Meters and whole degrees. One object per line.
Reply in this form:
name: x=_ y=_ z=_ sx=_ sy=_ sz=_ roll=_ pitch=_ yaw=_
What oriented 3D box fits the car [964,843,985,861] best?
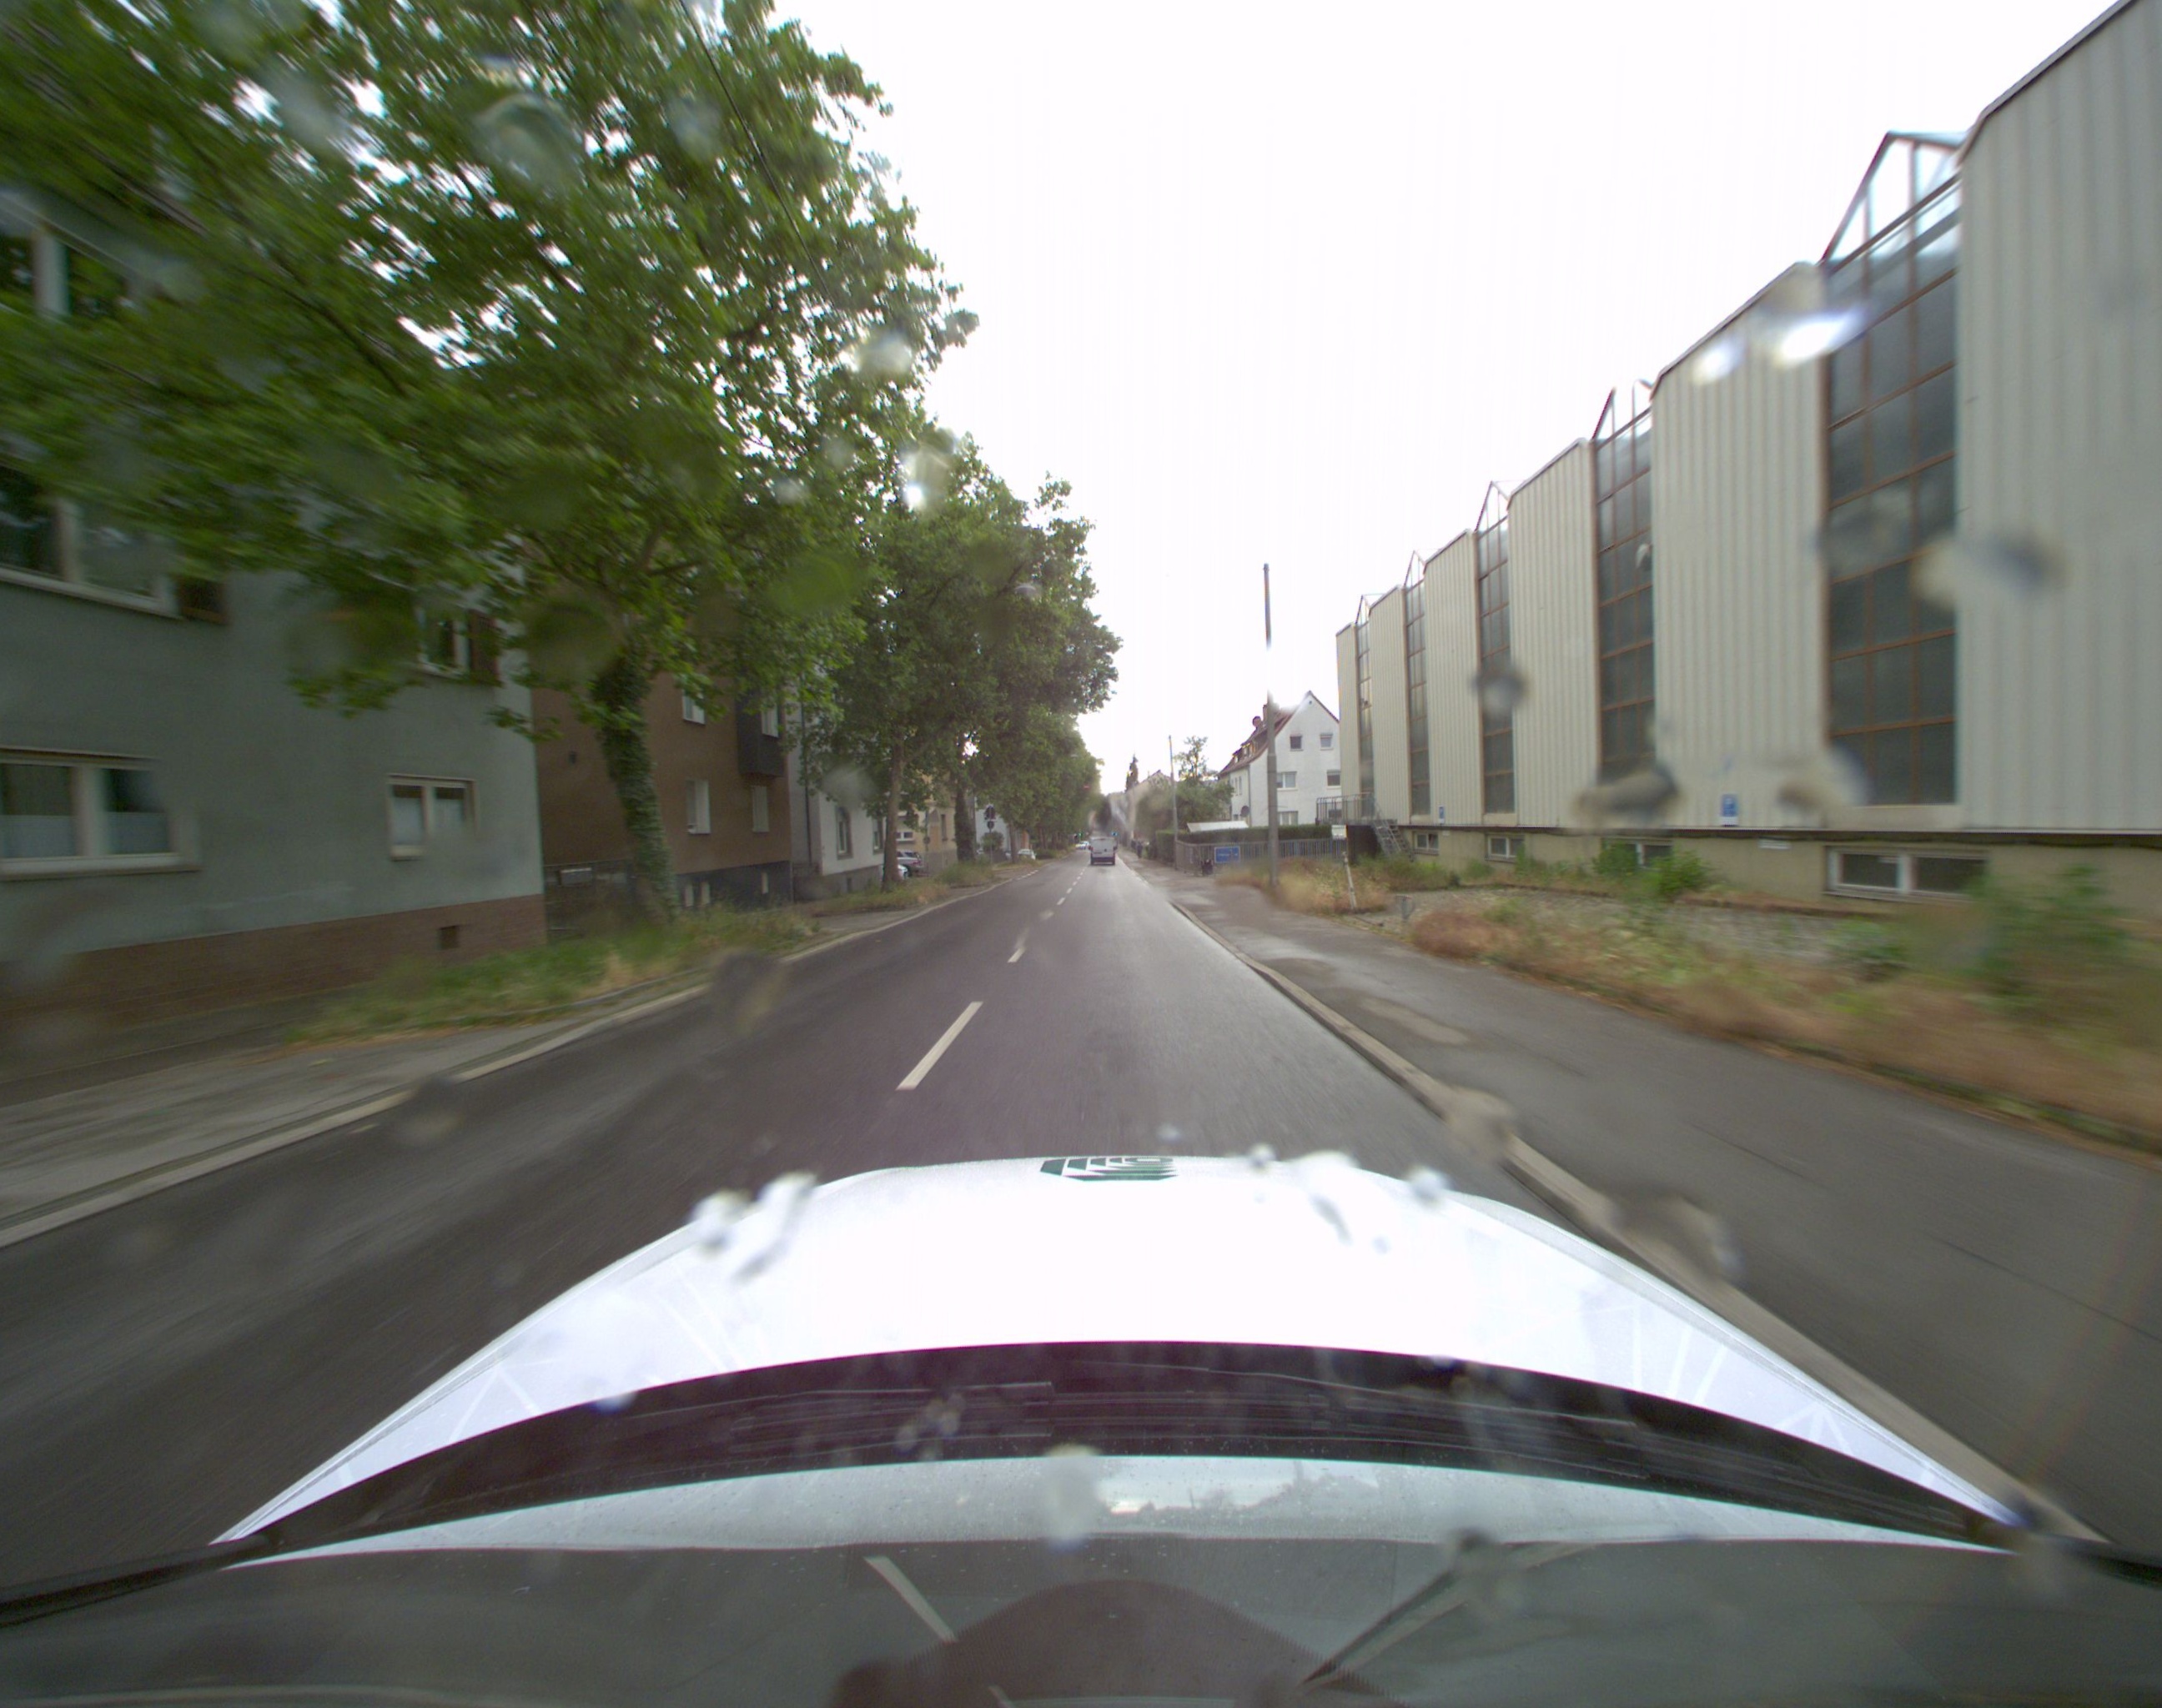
car: x=-12.764 y=-0.268 z=97.859 sx=1.868 sy=1.894 sz=4.002 roll=-2 pitch=2 yaw=1

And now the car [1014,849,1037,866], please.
car: x=-5.209 y=0.333 z=76.771 sx=1.989 sy=1.452 sz=4.206 roll=-2 pitch=0 yaw=-3

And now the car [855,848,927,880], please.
car: x=-12.518 y=0.643 z=53.802 sx=4.182 sy=1.891 sz=2.000 roll=-2 pitch=0 yaw=0

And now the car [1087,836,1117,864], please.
car: x=1.713 y=-0.372 z=68.368 sx=2.339 sy=2.160 sz=4.777 roll=-3 pitch=2 yaw=0

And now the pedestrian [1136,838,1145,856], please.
pedestrian: x=5.757 y=-0.673 z=79.279 sx=0.812 sy=1.698 sz=0.730 roll=-2 pitch=0 yaw=3

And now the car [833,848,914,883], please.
car: x=-12.259 y=0.667 z=48.362 sx=4.182 sy=1.891 sz=2.000 roll=-2 pitch=0 yaw=0

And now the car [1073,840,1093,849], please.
car: x=0.362 y=-1.872 z=156.369 sx=1.974 sy=1.709 sz=4.286 roll=-2 pitch=0 yaw=29
